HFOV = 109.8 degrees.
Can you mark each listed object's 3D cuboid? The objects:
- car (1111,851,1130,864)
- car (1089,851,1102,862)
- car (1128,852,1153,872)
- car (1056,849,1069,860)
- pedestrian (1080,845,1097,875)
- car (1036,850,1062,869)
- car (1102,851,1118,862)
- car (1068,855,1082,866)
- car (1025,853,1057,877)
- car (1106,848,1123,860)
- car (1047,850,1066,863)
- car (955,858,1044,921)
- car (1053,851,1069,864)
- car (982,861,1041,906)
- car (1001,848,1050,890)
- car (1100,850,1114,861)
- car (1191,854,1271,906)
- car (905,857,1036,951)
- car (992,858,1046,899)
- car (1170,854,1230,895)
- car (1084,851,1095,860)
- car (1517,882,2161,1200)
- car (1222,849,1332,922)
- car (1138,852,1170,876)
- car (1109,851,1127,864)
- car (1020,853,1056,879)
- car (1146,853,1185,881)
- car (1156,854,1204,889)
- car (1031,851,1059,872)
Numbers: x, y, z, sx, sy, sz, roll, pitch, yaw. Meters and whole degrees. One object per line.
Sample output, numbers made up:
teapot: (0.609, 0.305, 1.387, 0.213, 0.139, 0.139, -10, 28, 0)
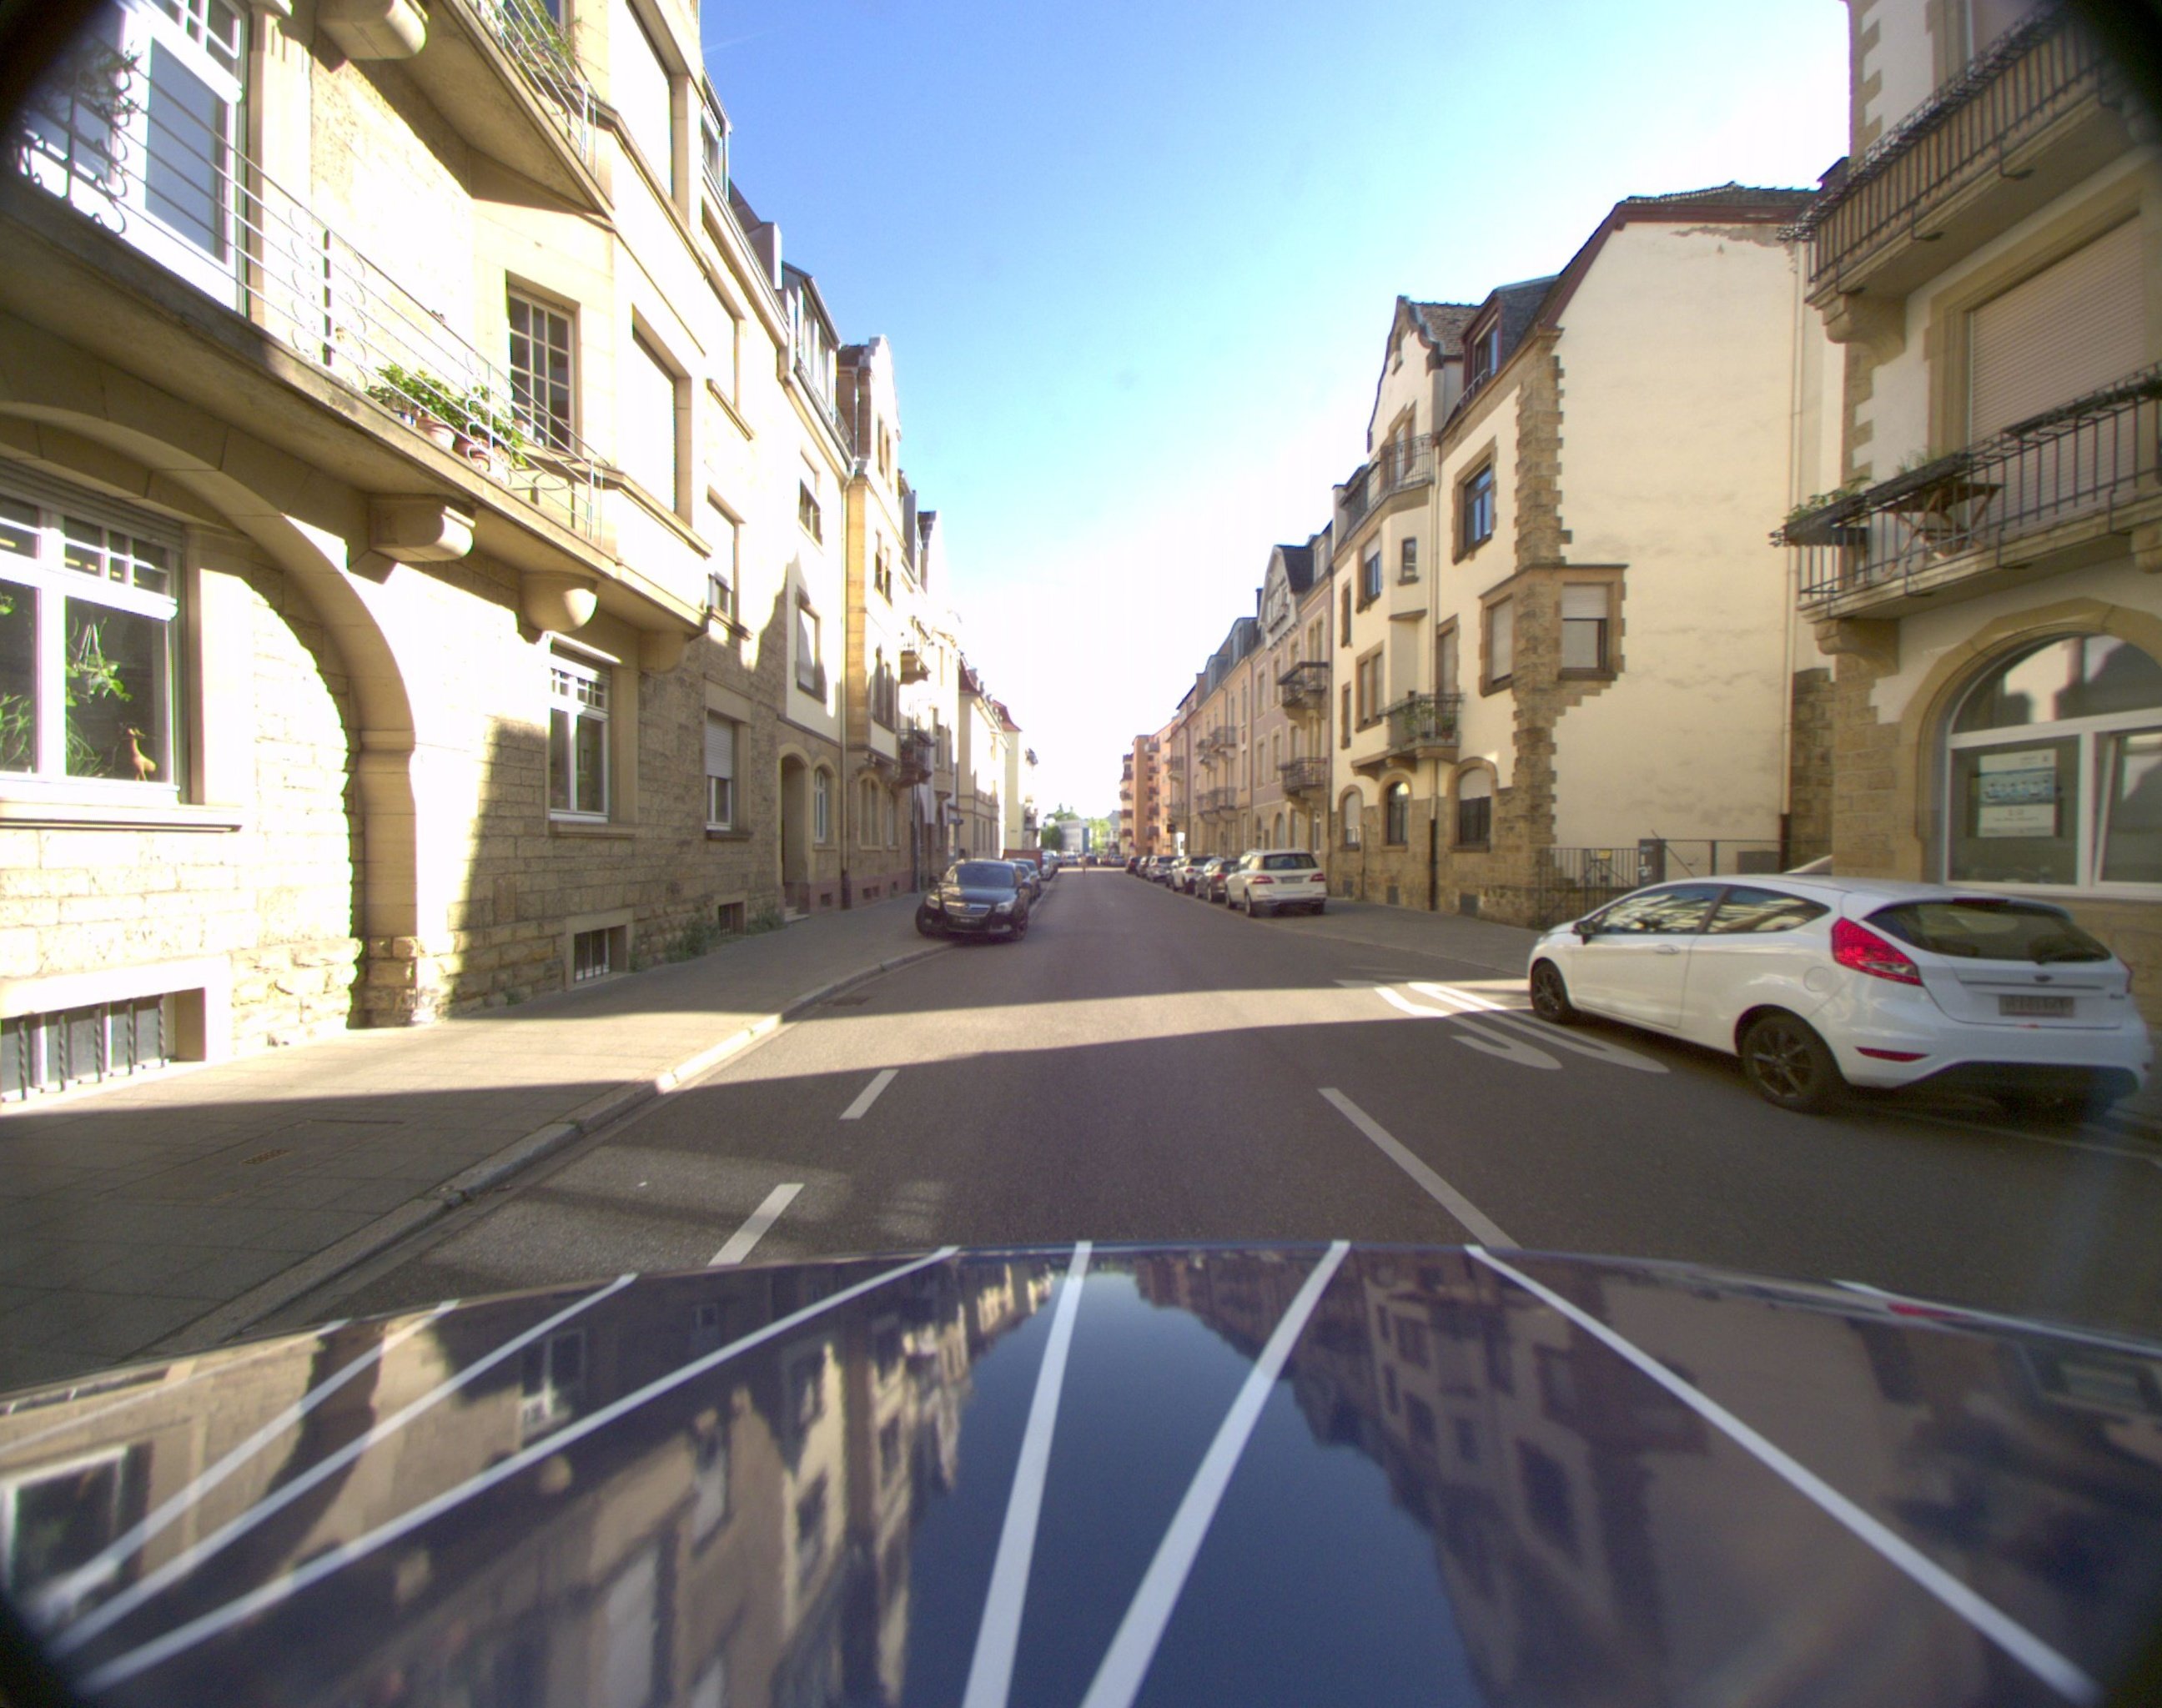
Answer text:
car: (4.672, 0.422, 91.390, 2.005, 1.500, 4.320, 1, 1, -1)
car: (1.982, 0.312, 104.156, 1.656, 1.449, 3.642, 0, 1, -1)
car: (4.892, 0.652, 62.972, 1.793, 1.500, 4.320, -2, 1, 1)
car: (-2.941, 0.084, 123.335, 2.005, 1.722, 4.320, 1, 1, -1)
pedestrian: (0.540, 0.404, 52.596, 0.951, 2.002, 1.067, -2, 1, 10)
car: (-2.673, 0.463, 64.498, 2.005, 1.500, 4.320, 1, 1, -1)
car: (4.112, 0.303, 107.250, 2.005, 1.500, 4.320, 1, 1, -1)
car: (-0.843, 0.902, 105.588, 2.005, 1.500, 4.320, 1, 1, -1)
car: (-2.749, 0.747, 52.640, 2.005, 1.500, 4.320, 1, 1, -1)
car: (4.519, 0.020, 101.787, 2.005, 1.500, 4.320, 1, 1, -1)
car: (-2.845, 0.279, 88.978, 2.005, 1.500, 4.320, 1, 1, -1)
car: (-2.098, 0.881, 20.798, 2.005, 1.499, 4.321, 1, 0, -1)
car: (-2.583, 0.445, 99.952, 2.005, 1.500, 4.320, 1, 1, -1)
car: (-2.235, 0.934, 25.377, 1.661, 1.272, 3.729, 1, 1, -1)
car: (-2.560, 0.658, 35.809, 2.005, 1.828, 4.320, 1, 1, -1)
car: (3.959, 0.203, 116.759, 2.005, 1.500, 4.320, 1, 1, -1)
car: (5.122, 0.829, 26.544, 1.890, 1.500, 4.320, -4, 1, 1)
car: (-2.038, 0.877, 15.256, 2.024, 1.500, 4.111, 2, 1, -1)
car: (-2.386, 0.899, 30.119, 1.824, 1.415, 4.320, 1, 1, -1)
car: (4.983, 0.804, 32.365, 1.890, 1.500, 4.320, -2, 1, 1)
car: (1.403, 0.255, 120.210, 1.656, 1.449, 3.642, 0, 1, -1)
car: (5.110, 1.021, 5.681, 1.656, 1.449, 3.643, 2, 0, 2)
car: (5.194, 0.760, 20.705, 1.890, 1.717, 4.211, -2, 1, 1)
car: (4.991, 0.679, 52.349, 1.809, 1.500, 4.003, -2, 1, 1)
car: (4.622, 0.406, 96.205, 2.005, 1.500, 4.320, 1, 1, -1)
car: (-2.654, 0.727, 47.866, 2.005, 1.500, 4.320, 1, 1, -1)
car: (5.020, 0.744, 45.831, 1.890, 1.500, 4.320, -2, 1, 1)
car: (4.855, 0.826, 37.805, 1.857, 1.491, 4.318, -2, 1, 1)
car: (-2.745, 0.546, 58.665, 2.005, 1.500, 4.320, 1, 1, -1)
